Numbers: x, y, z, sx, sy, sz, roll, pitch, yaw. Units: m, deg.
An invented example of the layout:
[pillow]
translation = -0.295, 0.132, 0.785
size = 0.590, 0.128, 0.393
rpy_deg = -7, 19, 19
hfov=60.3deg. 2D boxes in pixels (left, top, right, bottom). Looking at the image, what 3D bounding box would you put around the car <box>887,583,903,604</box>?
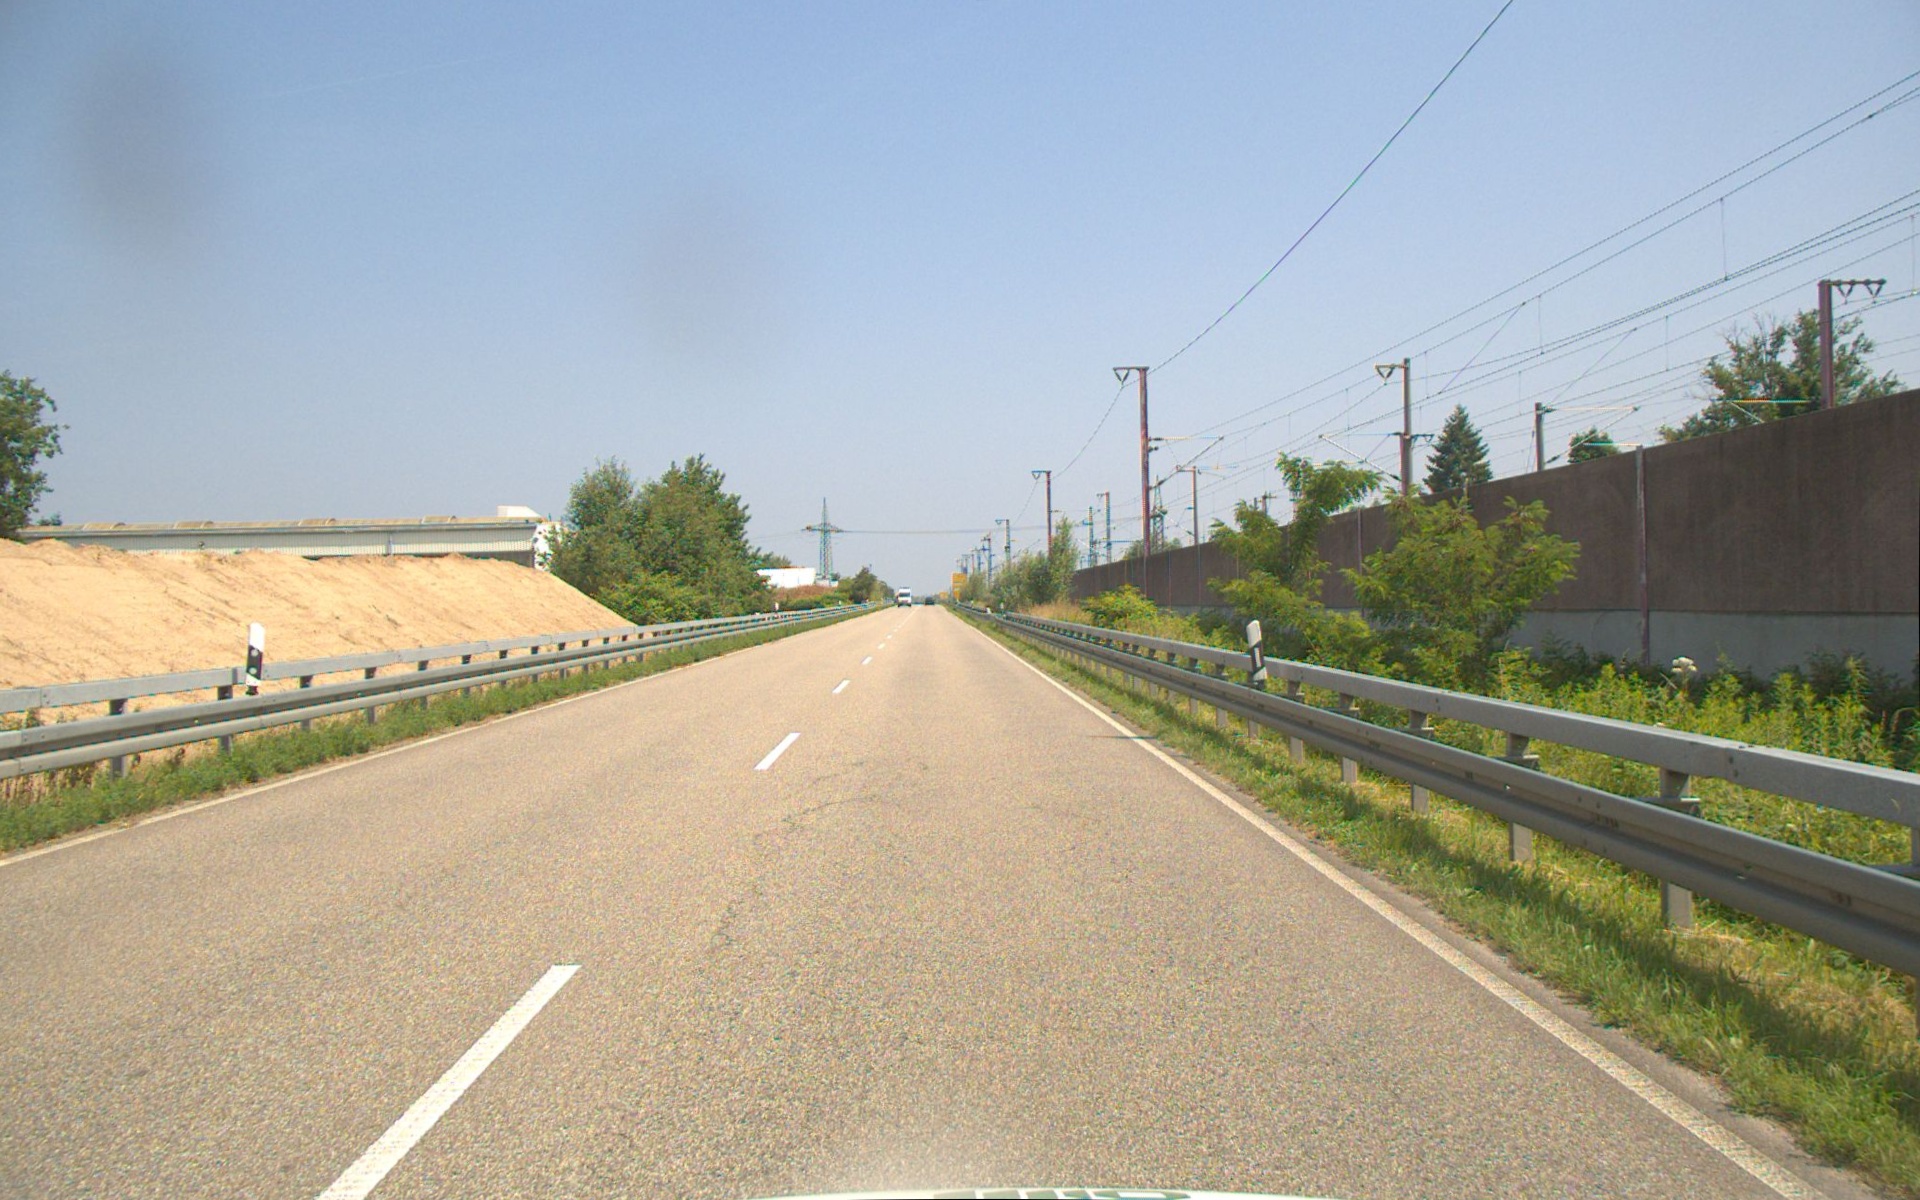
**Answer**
[car]
translation = -9.199, -0.917, 234.609
size = 2.037, 3.014, 6.727
rpy_deg = 0, 0, -2
